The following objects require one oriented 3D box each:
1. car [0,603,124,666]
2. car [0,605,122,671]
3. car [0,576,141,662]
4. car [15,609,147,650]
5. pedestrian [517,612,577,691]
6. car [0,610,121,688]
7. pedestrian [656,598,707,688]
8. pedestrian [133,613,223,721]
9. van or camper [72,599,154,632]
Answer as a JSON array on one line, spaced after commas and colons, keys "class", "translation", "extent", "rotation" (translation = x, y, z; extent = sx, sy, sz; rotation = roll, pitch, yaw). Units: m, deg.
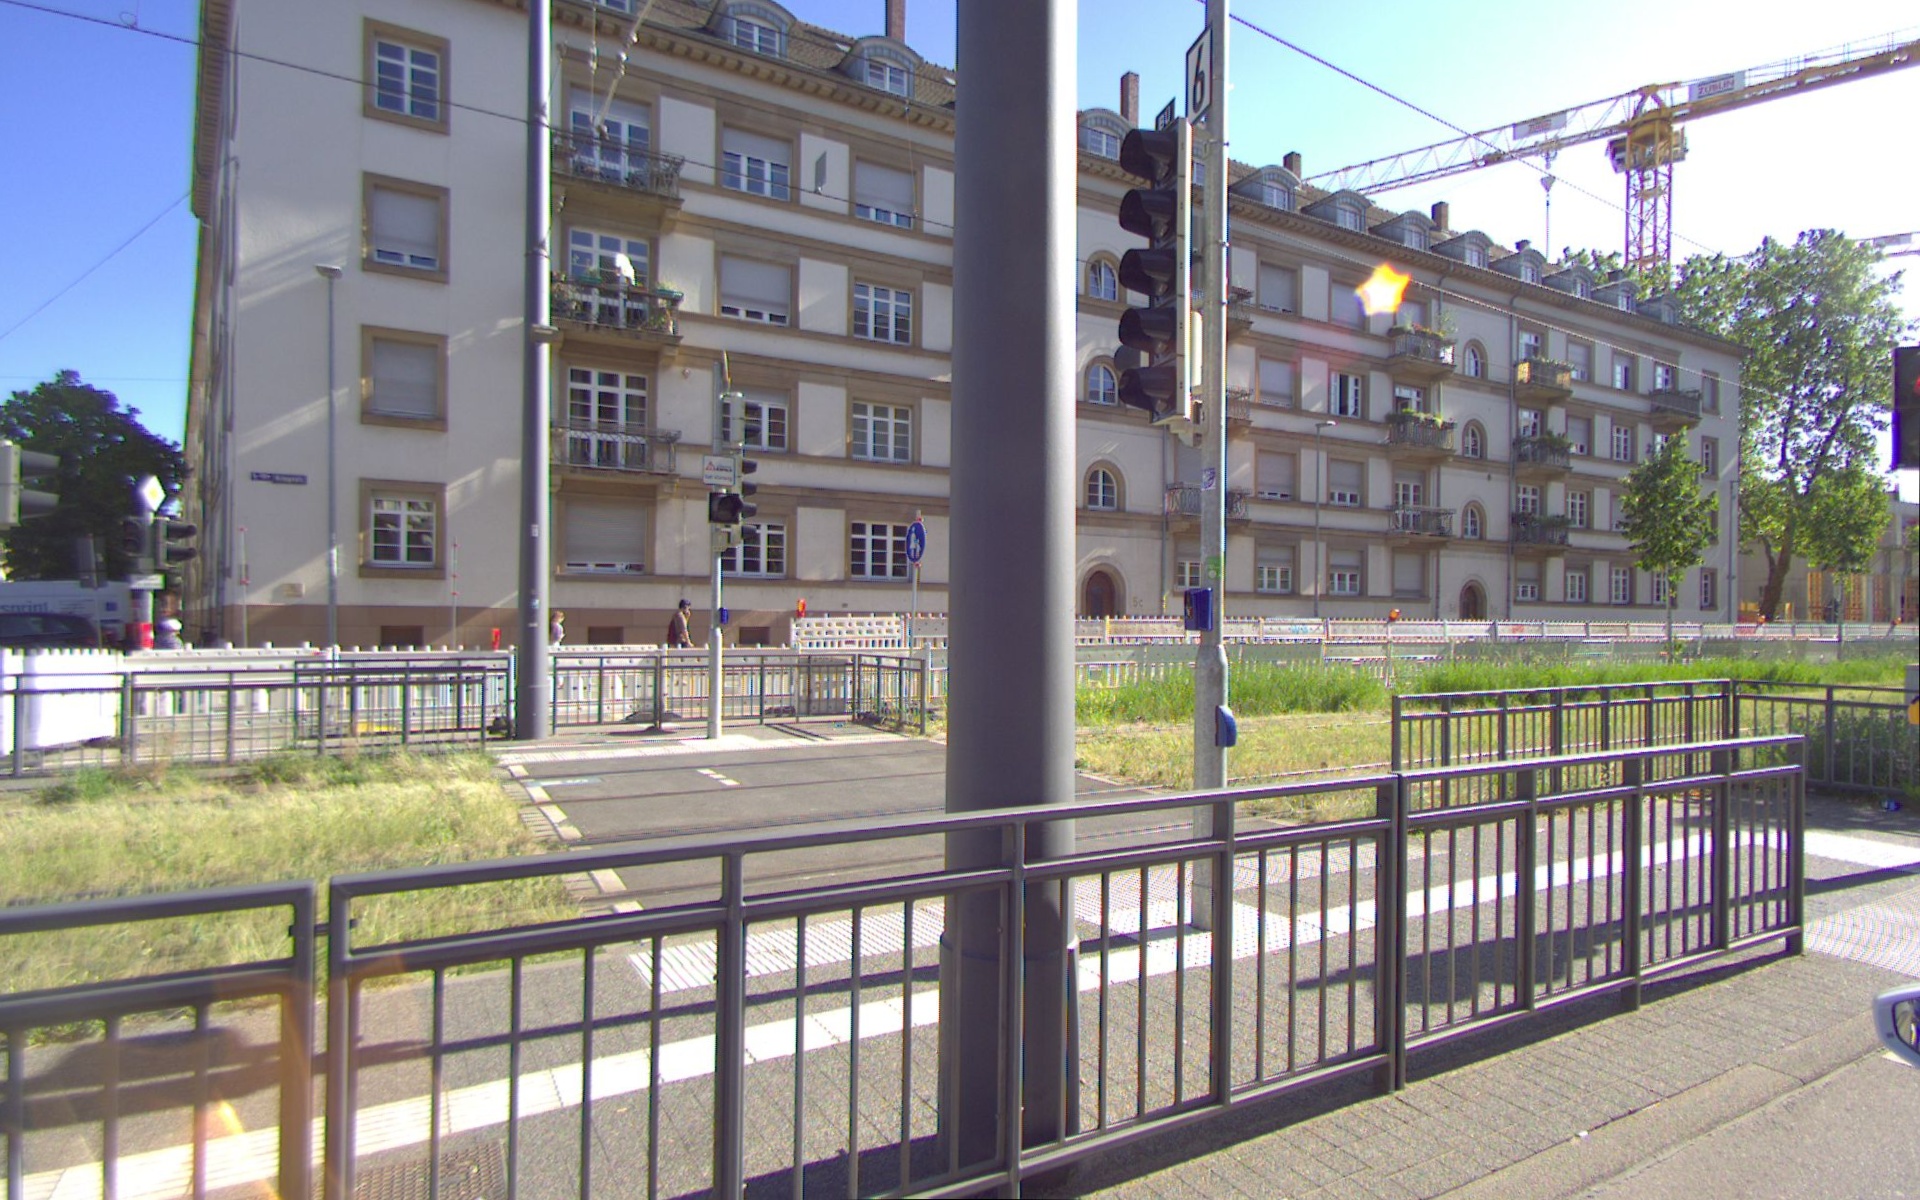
[{"class": "car", "translation": [-26.298, 0.958, 28.406], "extent": [3.965, 1.662, 1.849], "rotation": [2, 0, -38]}, {"class": "car", "translation": [-24.918, 0.992, 26.697], "extent": [3.965, 1.662, 1.849], "rotation": [2, 0, -38]}, {"class": "car", "translation": [-28.153, 0.548, 29.964], "extent": [5.710, 2.487, 1.977], "rotation": [2, 0, -40]}, {"class": "car", "translation": [-36.287, 1.223, 41.599], "extent": [3.965, 1.576, 1.848], "rotation": [2, 0, -39]}, {"class": "pedestrian", "translation": [-8.403, 1.032, 20.438], "extent": [1.009, 1.538, 0.783], "rotation": [2, 0, -30]}, {"class": "car", "translation": [-21.585, 1.073, 22.560], "extent": [3.959, 1.662, 1.851], "rotation": [2, 0, -34]}, {"class": "pedestrian", "translation": [-6.031, 0.925, 21.721], "extent": [0.861, 1.888, 0.763], "rotation": [2, 0, -30]}, {"class": "pedestrian", "translation": [-11.401, 0.957, 14.674], "extent": [0.698, 1.524, 0.805], "rotation": [0, -1, -7]}, {"class": "van or camper", "translation": [-59.286, 1.106, 70.443], "extent": [4.311, 2.244, 1.930], "rotation": [2, 0, -40]}]
